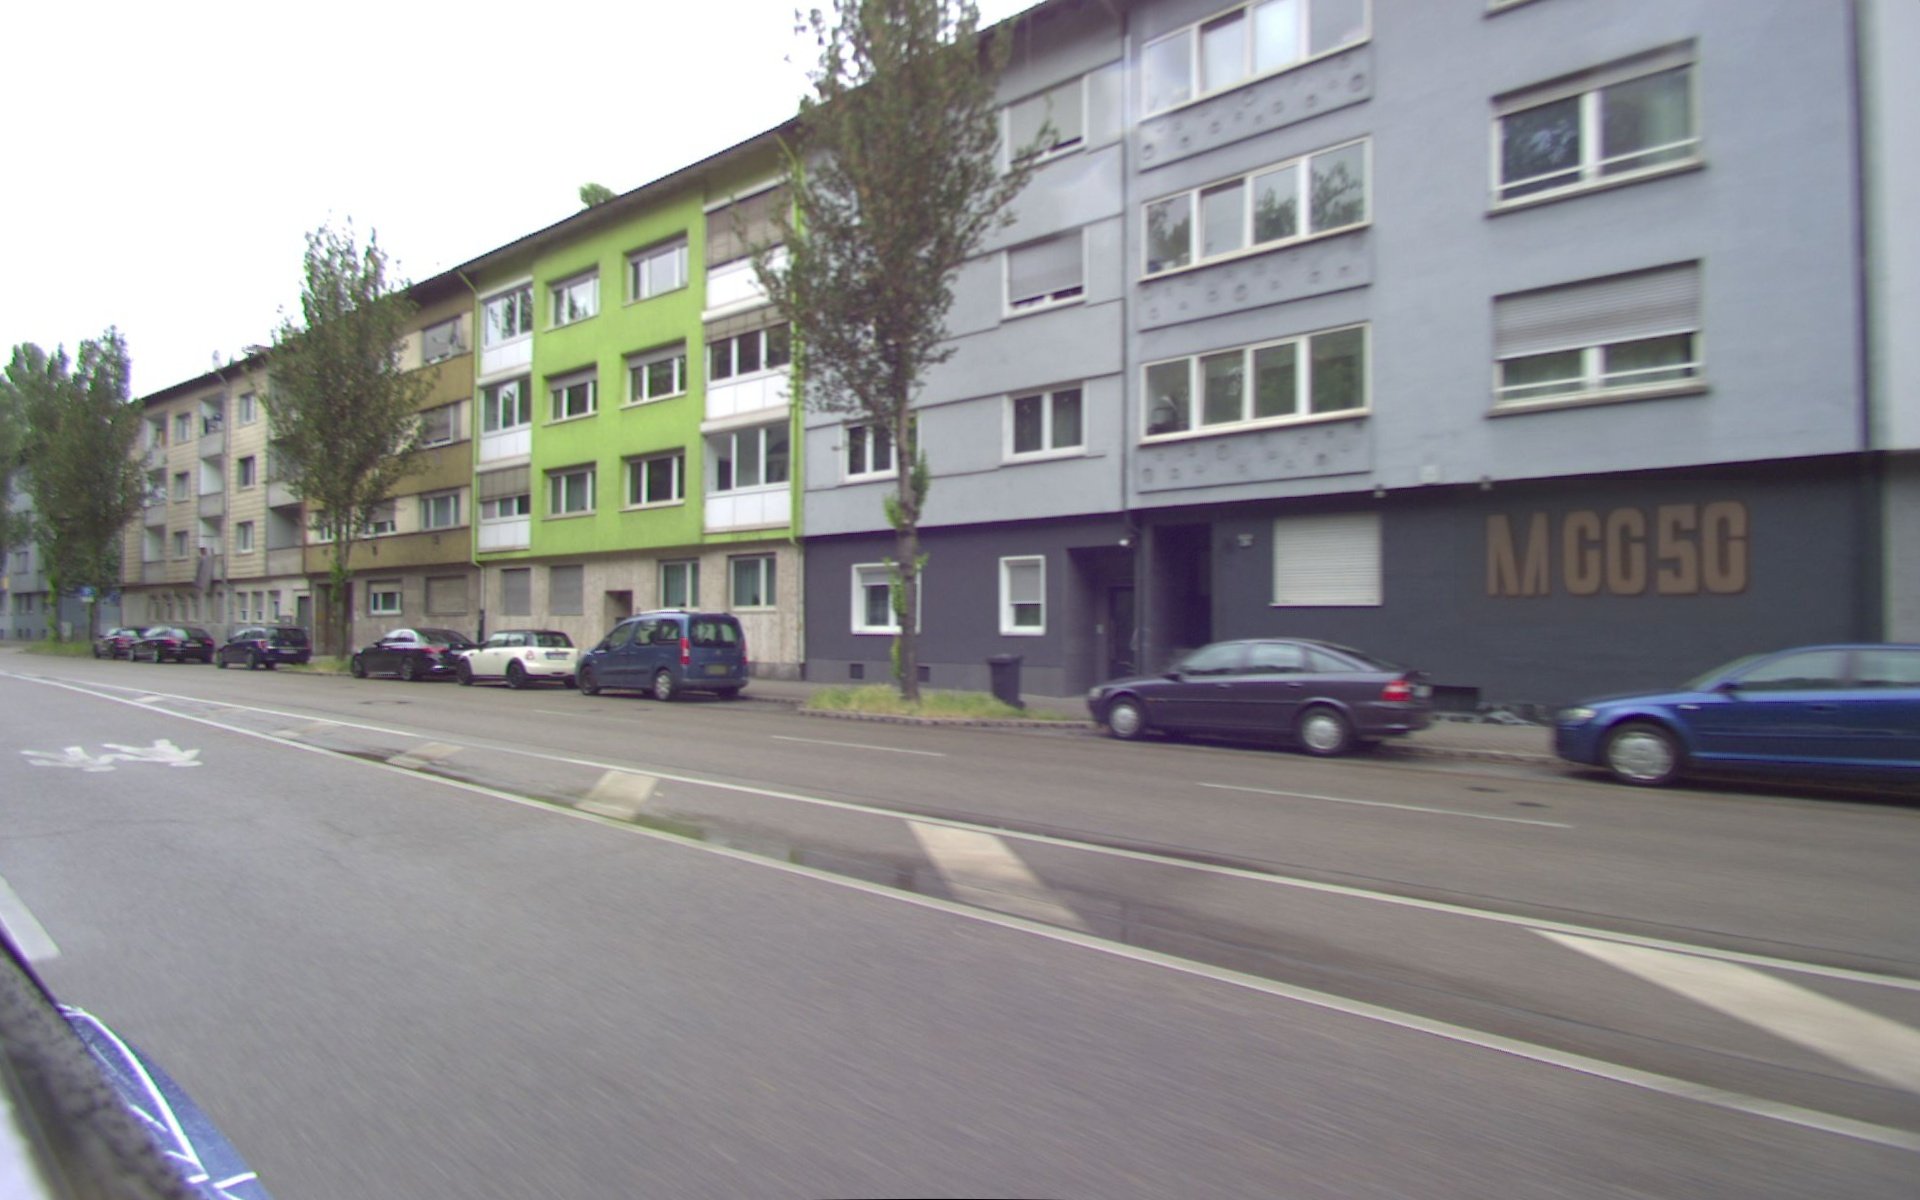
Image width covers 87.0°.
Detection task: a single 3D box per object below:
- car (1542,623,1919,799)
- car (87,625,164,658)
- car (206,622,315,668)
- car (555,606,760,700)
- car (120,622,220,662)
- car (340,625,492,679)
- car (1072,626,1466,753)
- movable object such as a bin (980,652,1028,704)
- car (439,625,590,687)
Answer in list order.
[{"bbox_3d":[8.023,0.987,9.462,4.271,1.460,1.664,-1,-5,39],"label":"car"},{"bbox_3d":[-36.274,1.779,43.973,3.981,1.397,1.611,-1,-3,36],"label":"car"},{"bbox_3d":[-24.382,1.547,35.220,4.506,1.500,1.702,-1,-4,37],"label":"car"},{"bbox_3d":[-6.510,1.078,21.526,4.595,1.780,1.872,-1,-3,39],"label":"car"},{"bbox_3d":[-31.575,1.673,40.399,4.779,1.500,1.801,-1,-4,35],"label":"car"},{"bbox_3d":[-15.123,1.423,28.050,4.670,1.383,1.801,-1,-4,36],"label":"car"},{"bbox_3d":[3.836,1.063,13.040,4.573,1.368,1.672,-1,-5,39],"label":"car"},{"bbox_3d":[0.717,1.257,16.472,0.609,0.823,0.465,-1,-3,38],"label":"movable object such as a bin"},{"bbox_3d":[-11.065,1.362,25.042,3.994,1.386,1.664,-1,-4,38],"label":"car"}]
